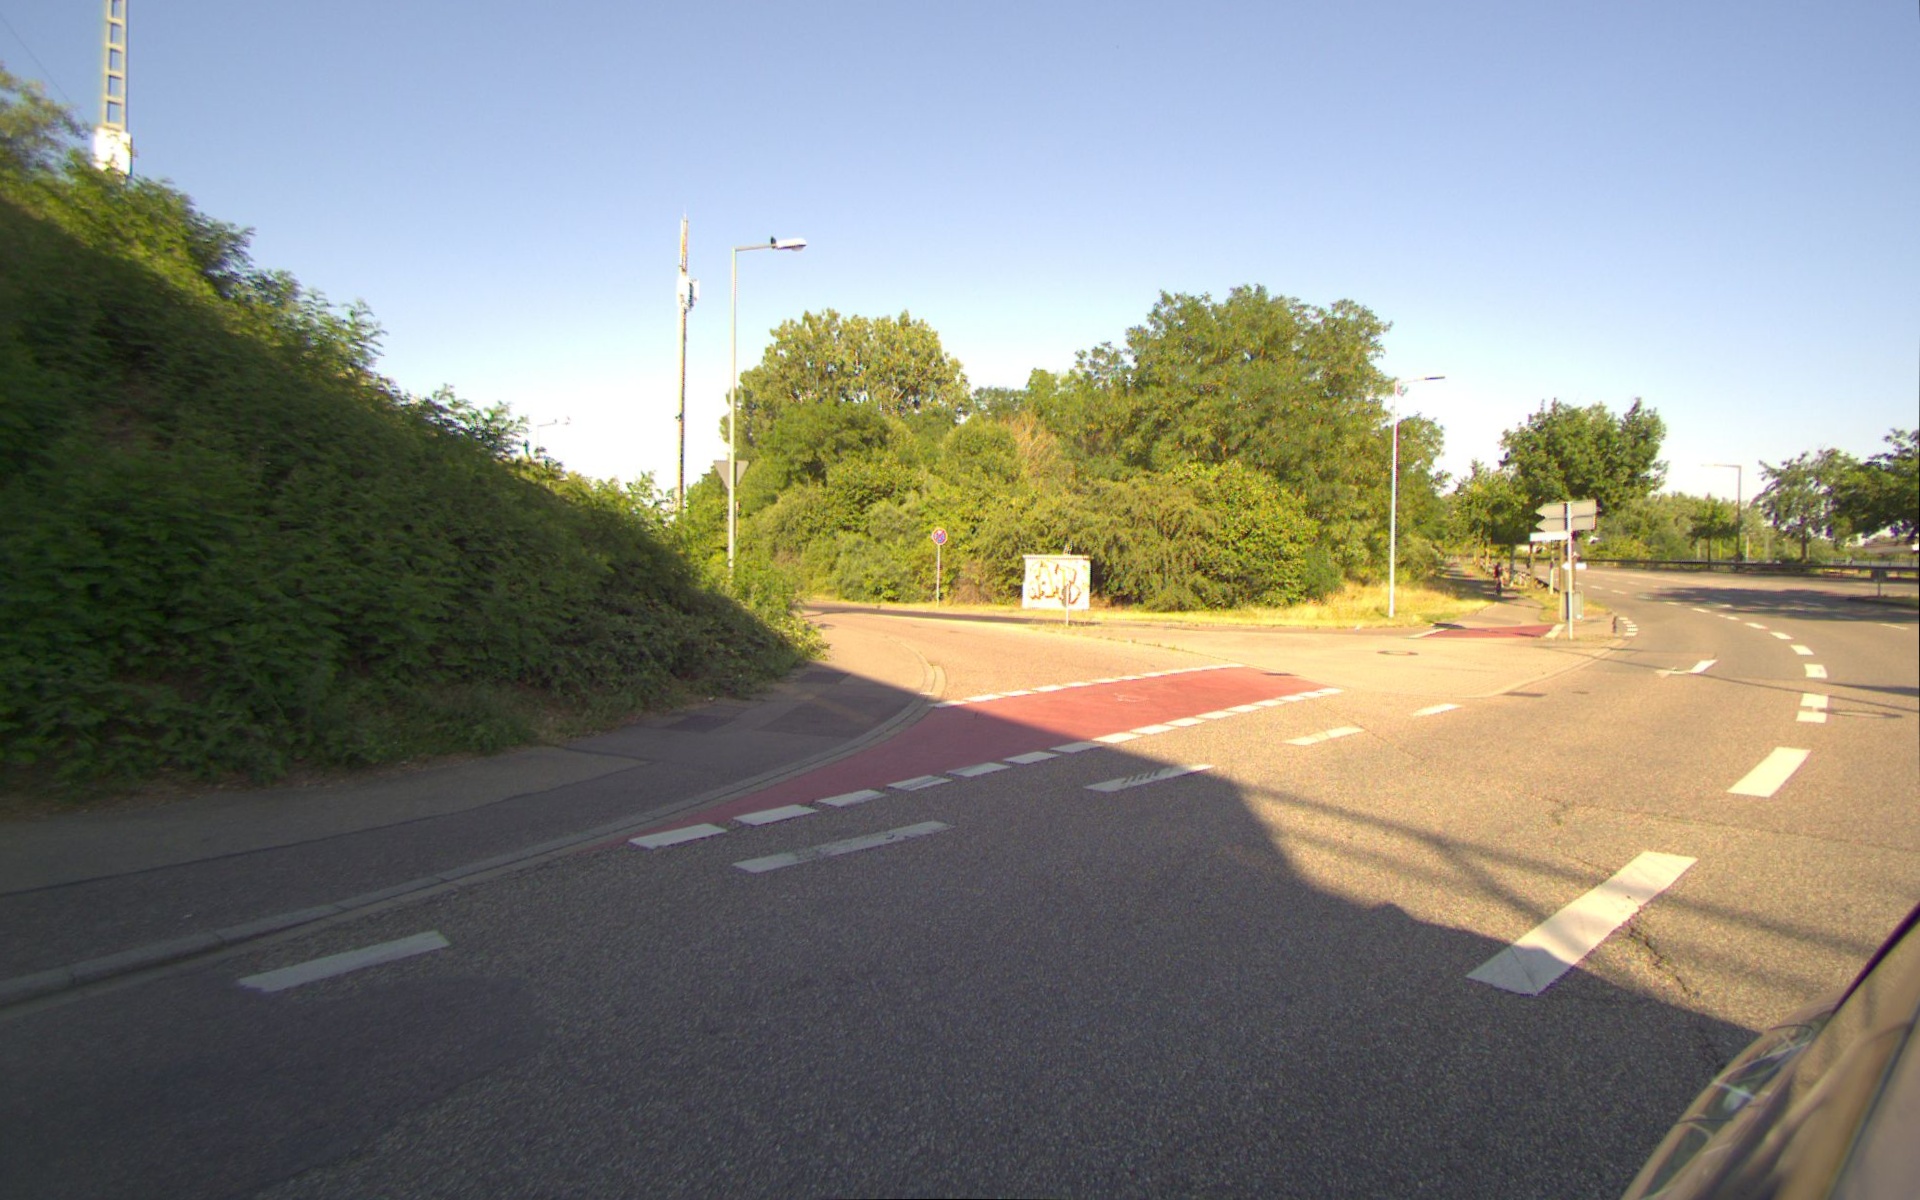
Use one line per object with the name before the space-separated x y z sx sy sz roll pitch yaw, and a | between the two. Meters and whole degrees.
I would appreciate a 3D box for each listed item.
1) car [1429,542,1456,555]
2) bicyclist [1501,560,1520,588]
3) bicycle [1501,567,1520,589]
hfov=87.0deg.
car | 72.114 -7.715 151.192 1.961 1.794 4.002 -1 1 -3
bicyclist | 28.821 -1.348 53.002 0.835 1.439 1.103 -1 0 28
bicycle | 28.789 -1.147 52.903 0.775 1.070 2.473 -1 1 27
